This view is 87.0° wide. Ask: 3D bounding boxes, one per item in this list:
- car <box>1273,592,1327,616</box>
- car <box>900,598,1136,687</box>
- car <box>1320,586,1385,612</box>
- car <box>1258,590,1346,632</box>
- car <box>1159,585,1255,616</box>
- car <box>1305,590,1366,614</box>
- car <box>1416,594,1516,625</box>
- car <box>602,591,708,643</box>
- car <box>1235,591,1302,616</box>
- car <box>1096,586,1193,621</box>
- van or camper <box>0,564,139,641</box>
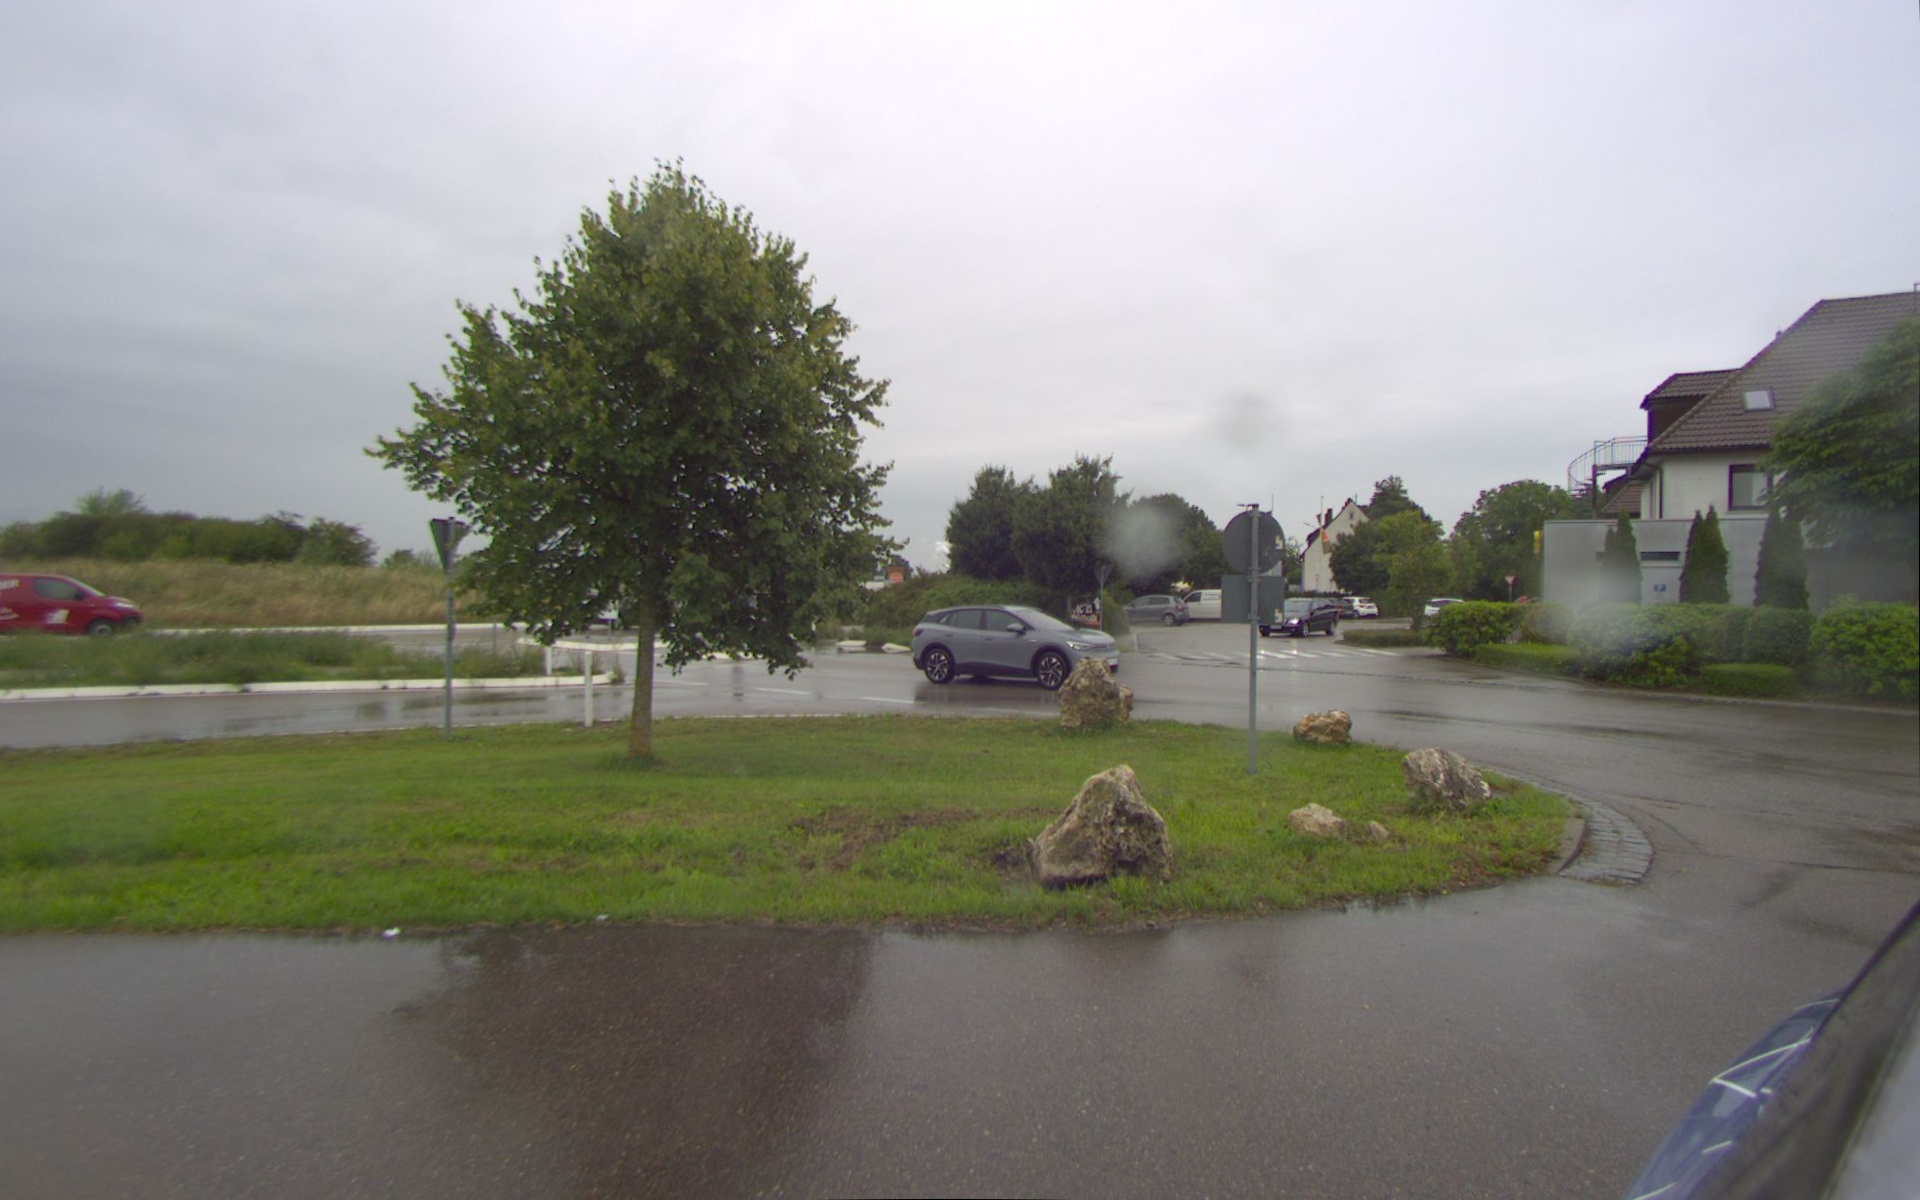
[{"bbox_3d":[22.746,0.246,67.858,1.631,1.569,3.733,0,0,-14],"label":"car"},{"bbox_3d":[1.147,0.798,20.812,4.467,1.594,1.977,0,1,34],"label":"car"},{"bbox_3d":[26.839,-0.077,69.297,1.948,1.750,4.008,0,0,-20],"label":"car"},{"bbox_3d":[13.158,0.399,38.813,1.698,1.443,4.297,-1,1,40],"label":"car"},{"bbox_3d":[14.890,0.056,61.108,5.334,1.744,1.978,-1,-1,32],"label":"car"},{"bbox_3d":[25.177,0.123,68.003,1.713,1.590,3.896,0,0,-19],"label":"car"},{"bbox_3d":[24.920,0.433,49.838,4.323,1.443,1.831,0,0,30],"label":"car"},{"bbox_3d":[-12.491,0.678,41.664,1.981,2.039,3.961,-1,0,28],"label":"car"},{"bbox_3d":[20.223,0.263,66.627,1.958,1.570,4.657,-1,0,-16],"label":"car"},{"bbox_3d":[9.622,0.204,52.824,4.572,1.744,1.978,-1,-1,32],"label":"car"},{"bbox_3d":[-25.901,0.045,28.061,4.757,2.038,1.999,1,2,-38],"label":"van or camper"}]
